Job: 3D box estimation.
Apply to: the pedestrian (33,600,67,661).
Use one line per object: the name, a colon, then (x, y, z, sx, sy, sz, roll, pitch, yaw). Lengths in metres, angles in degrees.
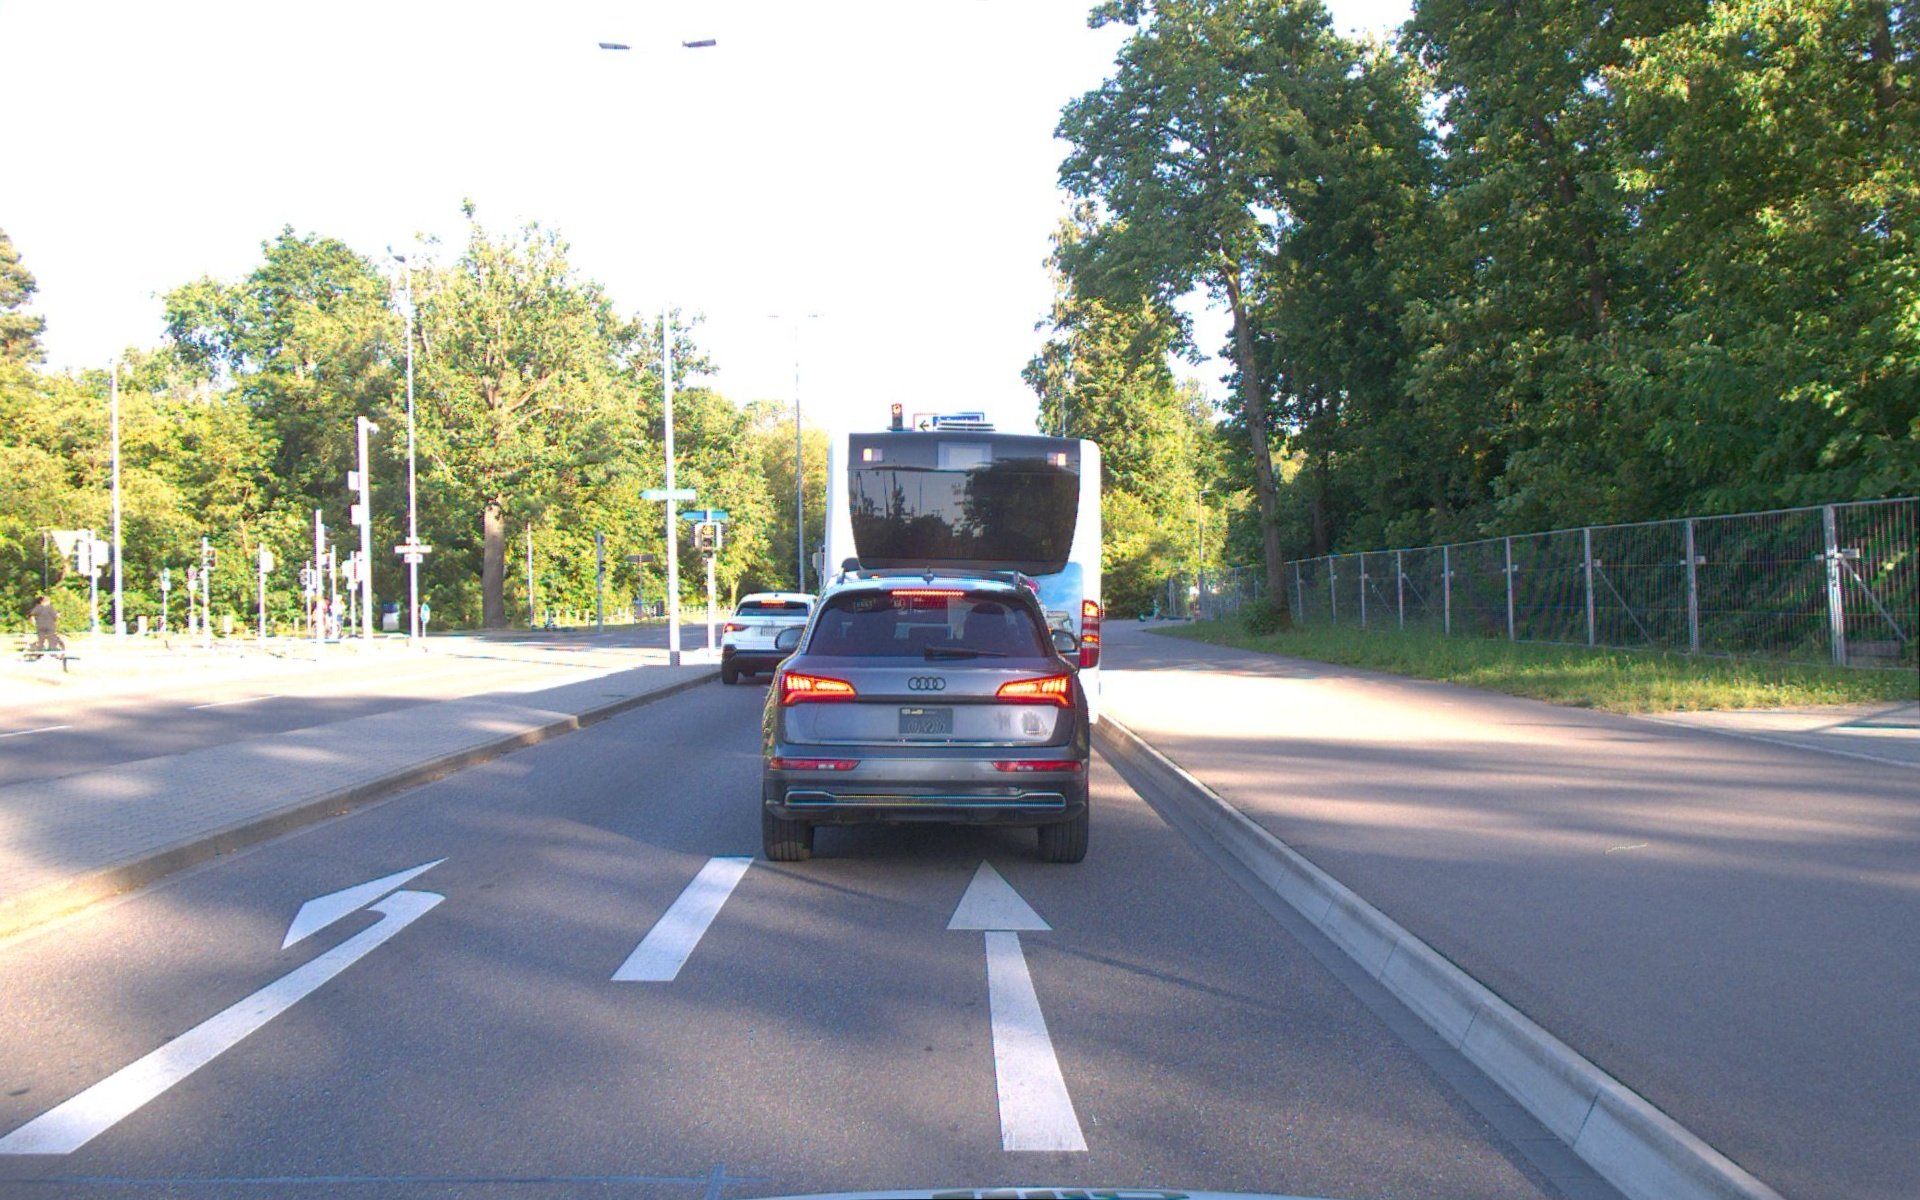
pedestrian: (-24.171, 0.808, 43.930, 0.643, 1.587, 0.531, -1, 0, -43)

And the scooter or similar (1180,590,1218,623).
scooter or similar: (11.766, 0.332, 81.585, 0.535, 1.594, 1.993, -2, 0, -40)

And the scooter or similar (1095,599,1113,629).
scooter or similar: (7.194, 0.686, 82.863, 0.498, 1.469, 2.020, -2, 0, -6)

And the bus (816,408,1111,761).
bus: (-0.035, -0.102, 18.936, 2.542, 3.041, 9.324, 0, 0, -1)

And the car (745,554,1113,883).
car: (-0.184, 0.600, 10.432, 1.860, 1.660, 3.999, 1, 0, -1)

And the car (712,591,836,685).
car: (-3.242, 0.620, 29.532, 1.799, 1.545, 3.999, -1, 0, -1)

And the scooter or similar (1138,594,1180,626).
scooter or similar: (9.672, 0.500, 80.260, 1.991, 1.469, 0.601, -2, 0, -26)
